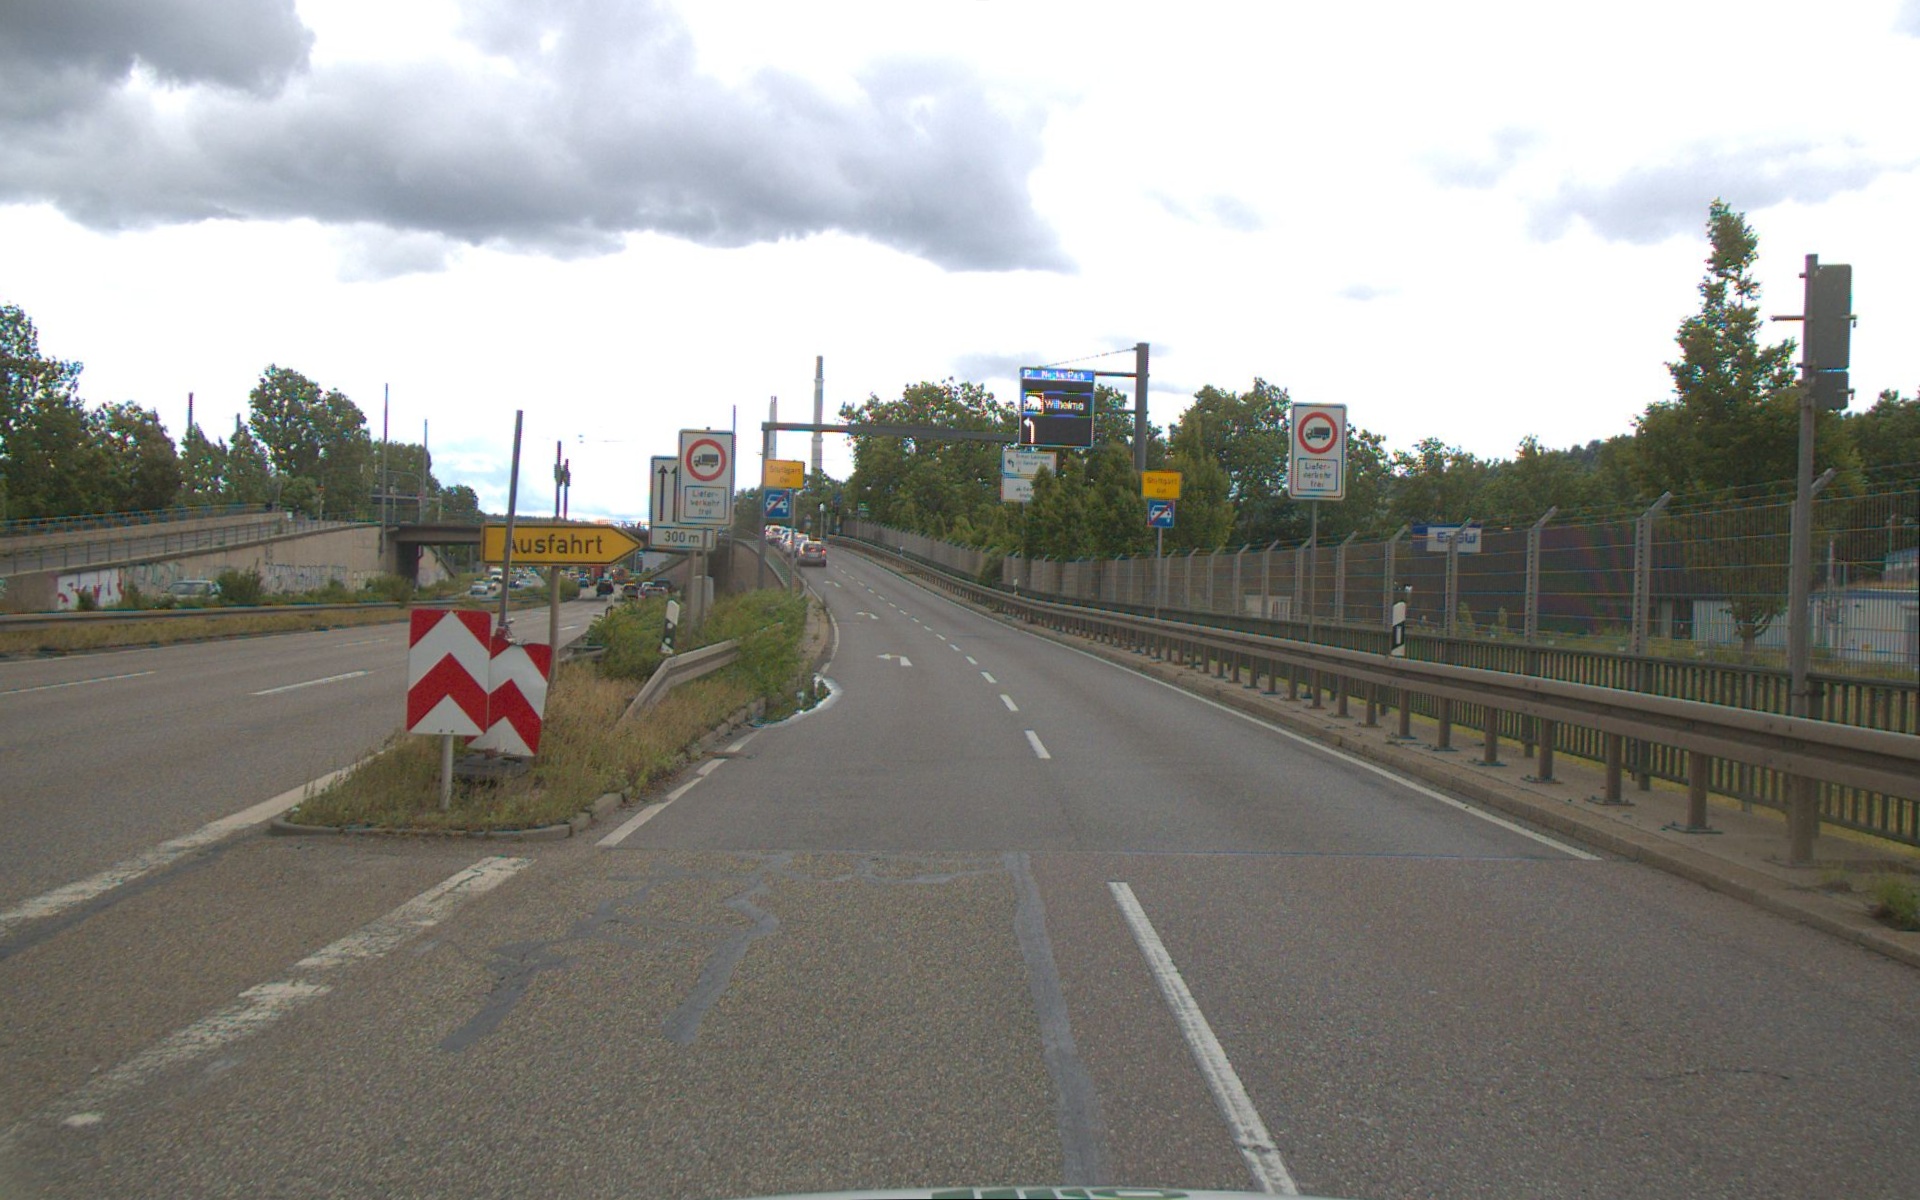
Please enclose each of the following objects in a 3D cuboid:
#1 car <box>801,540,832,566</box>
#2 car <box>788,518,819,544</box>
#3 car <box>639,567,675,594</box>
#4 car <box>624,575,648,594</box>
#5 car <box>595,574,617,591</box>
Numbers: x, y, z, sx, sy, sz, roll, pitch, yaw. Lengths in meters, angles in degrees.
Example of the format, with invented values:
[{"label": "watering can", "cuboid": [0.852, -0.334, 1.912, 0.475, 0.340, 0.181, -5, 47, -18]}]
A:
[{"label": "car", "cuboid": [-9.291, -3.034, 107.345, 1.715, 1.608, 4.083, 3, 1, -3]}, {"label": "car", "cuboid": [-11.225, -4.974, 118.477, 1.957, 1.630, 3.994, 0, 5, -9]}, {"label": "car", "cuboid": [-18.329, -1.205, 99.930, 1.959, 1.444, 3.989, 2, 2, -13]}, {"label": "car", "cuboid": [-32.570, -1.526, 166.452, 1.955, 1.713, 3.996, 2, 2, -6]}, {"label": "car", "cuboid": [-38.845, -1.923, 181.600, 1.955, 1.713, 3.996, 2, 2, -6]}]
